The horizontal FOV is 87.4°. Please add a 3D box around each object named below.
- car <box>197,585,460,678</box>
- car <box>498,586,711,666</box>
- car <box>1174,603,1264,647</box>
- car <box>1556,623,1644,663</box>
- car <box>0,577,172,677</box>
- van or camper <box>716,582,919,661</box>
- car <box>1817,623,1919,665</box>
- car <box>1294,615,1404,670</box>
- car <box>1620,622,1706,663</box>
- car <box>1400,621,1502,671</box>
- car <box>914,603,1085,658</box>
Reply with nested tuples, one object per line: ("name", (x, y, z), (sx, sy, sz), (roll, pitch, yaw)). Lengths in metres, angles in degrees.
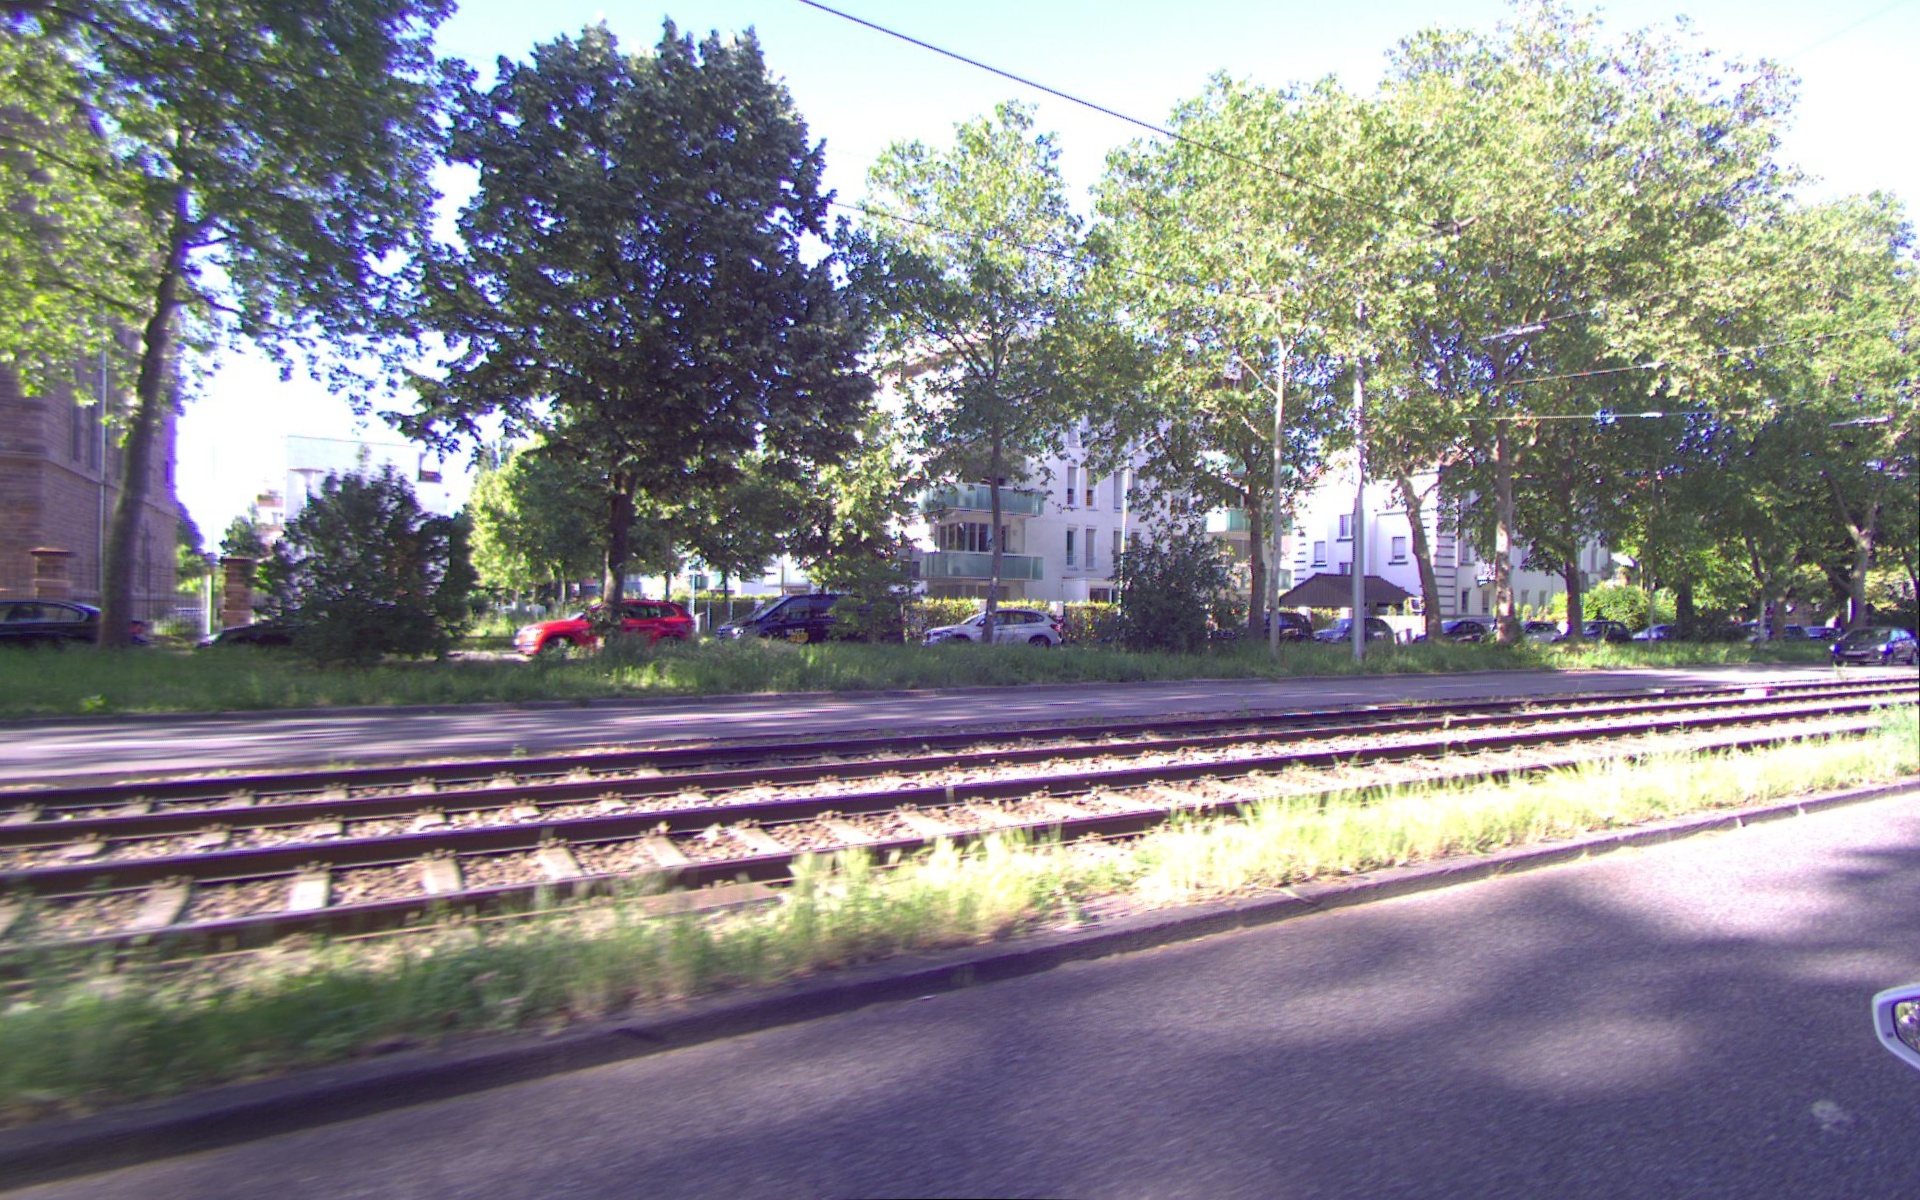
("car", (-13.726, 0.665, 22.106), (4.687, 1.833, 2.097), (1, 0, -33))
("car", (-8.870, 0.647, 25.158), (4.686, 1.833, 2.097), (1, 0, -32))
("car", (12.455, 1.200, 48.261), (3.952, 2.040, 1.984), (1, -1, -30))
("car", (31.672, 2.124, 49.658), (4.500, 1.860, 1.812), (1, 0, -30))
("car", (-18.307, 0.495, 19.337), (4.685, 1.833, 2.097), (1, 0, -32))
("van or camper", (-3.959, 0.622, 28.219), (5.157, 2.040, 2.254), (2, -1, -31))
("car", (35.333, 1.730, 39.002), (4.287, 1.528, 1.787), (2, -3, -30))
("car", (15.510, 1.661, 40.016), (4.045, 2.040, 1.984), (1, 0, -31))
("car", (37.036, 2.219, 52.895), (4.629, 2.040, 1.984), (1, 0, -30))
("car", (21.193, 1.961, 43.330), (4.052, 2.040, 1.985), (1, 0, -29))
("car", (1.243, 0.987, 31.636), (5.012, 1.619, 2.025), (1, -3, -21))
